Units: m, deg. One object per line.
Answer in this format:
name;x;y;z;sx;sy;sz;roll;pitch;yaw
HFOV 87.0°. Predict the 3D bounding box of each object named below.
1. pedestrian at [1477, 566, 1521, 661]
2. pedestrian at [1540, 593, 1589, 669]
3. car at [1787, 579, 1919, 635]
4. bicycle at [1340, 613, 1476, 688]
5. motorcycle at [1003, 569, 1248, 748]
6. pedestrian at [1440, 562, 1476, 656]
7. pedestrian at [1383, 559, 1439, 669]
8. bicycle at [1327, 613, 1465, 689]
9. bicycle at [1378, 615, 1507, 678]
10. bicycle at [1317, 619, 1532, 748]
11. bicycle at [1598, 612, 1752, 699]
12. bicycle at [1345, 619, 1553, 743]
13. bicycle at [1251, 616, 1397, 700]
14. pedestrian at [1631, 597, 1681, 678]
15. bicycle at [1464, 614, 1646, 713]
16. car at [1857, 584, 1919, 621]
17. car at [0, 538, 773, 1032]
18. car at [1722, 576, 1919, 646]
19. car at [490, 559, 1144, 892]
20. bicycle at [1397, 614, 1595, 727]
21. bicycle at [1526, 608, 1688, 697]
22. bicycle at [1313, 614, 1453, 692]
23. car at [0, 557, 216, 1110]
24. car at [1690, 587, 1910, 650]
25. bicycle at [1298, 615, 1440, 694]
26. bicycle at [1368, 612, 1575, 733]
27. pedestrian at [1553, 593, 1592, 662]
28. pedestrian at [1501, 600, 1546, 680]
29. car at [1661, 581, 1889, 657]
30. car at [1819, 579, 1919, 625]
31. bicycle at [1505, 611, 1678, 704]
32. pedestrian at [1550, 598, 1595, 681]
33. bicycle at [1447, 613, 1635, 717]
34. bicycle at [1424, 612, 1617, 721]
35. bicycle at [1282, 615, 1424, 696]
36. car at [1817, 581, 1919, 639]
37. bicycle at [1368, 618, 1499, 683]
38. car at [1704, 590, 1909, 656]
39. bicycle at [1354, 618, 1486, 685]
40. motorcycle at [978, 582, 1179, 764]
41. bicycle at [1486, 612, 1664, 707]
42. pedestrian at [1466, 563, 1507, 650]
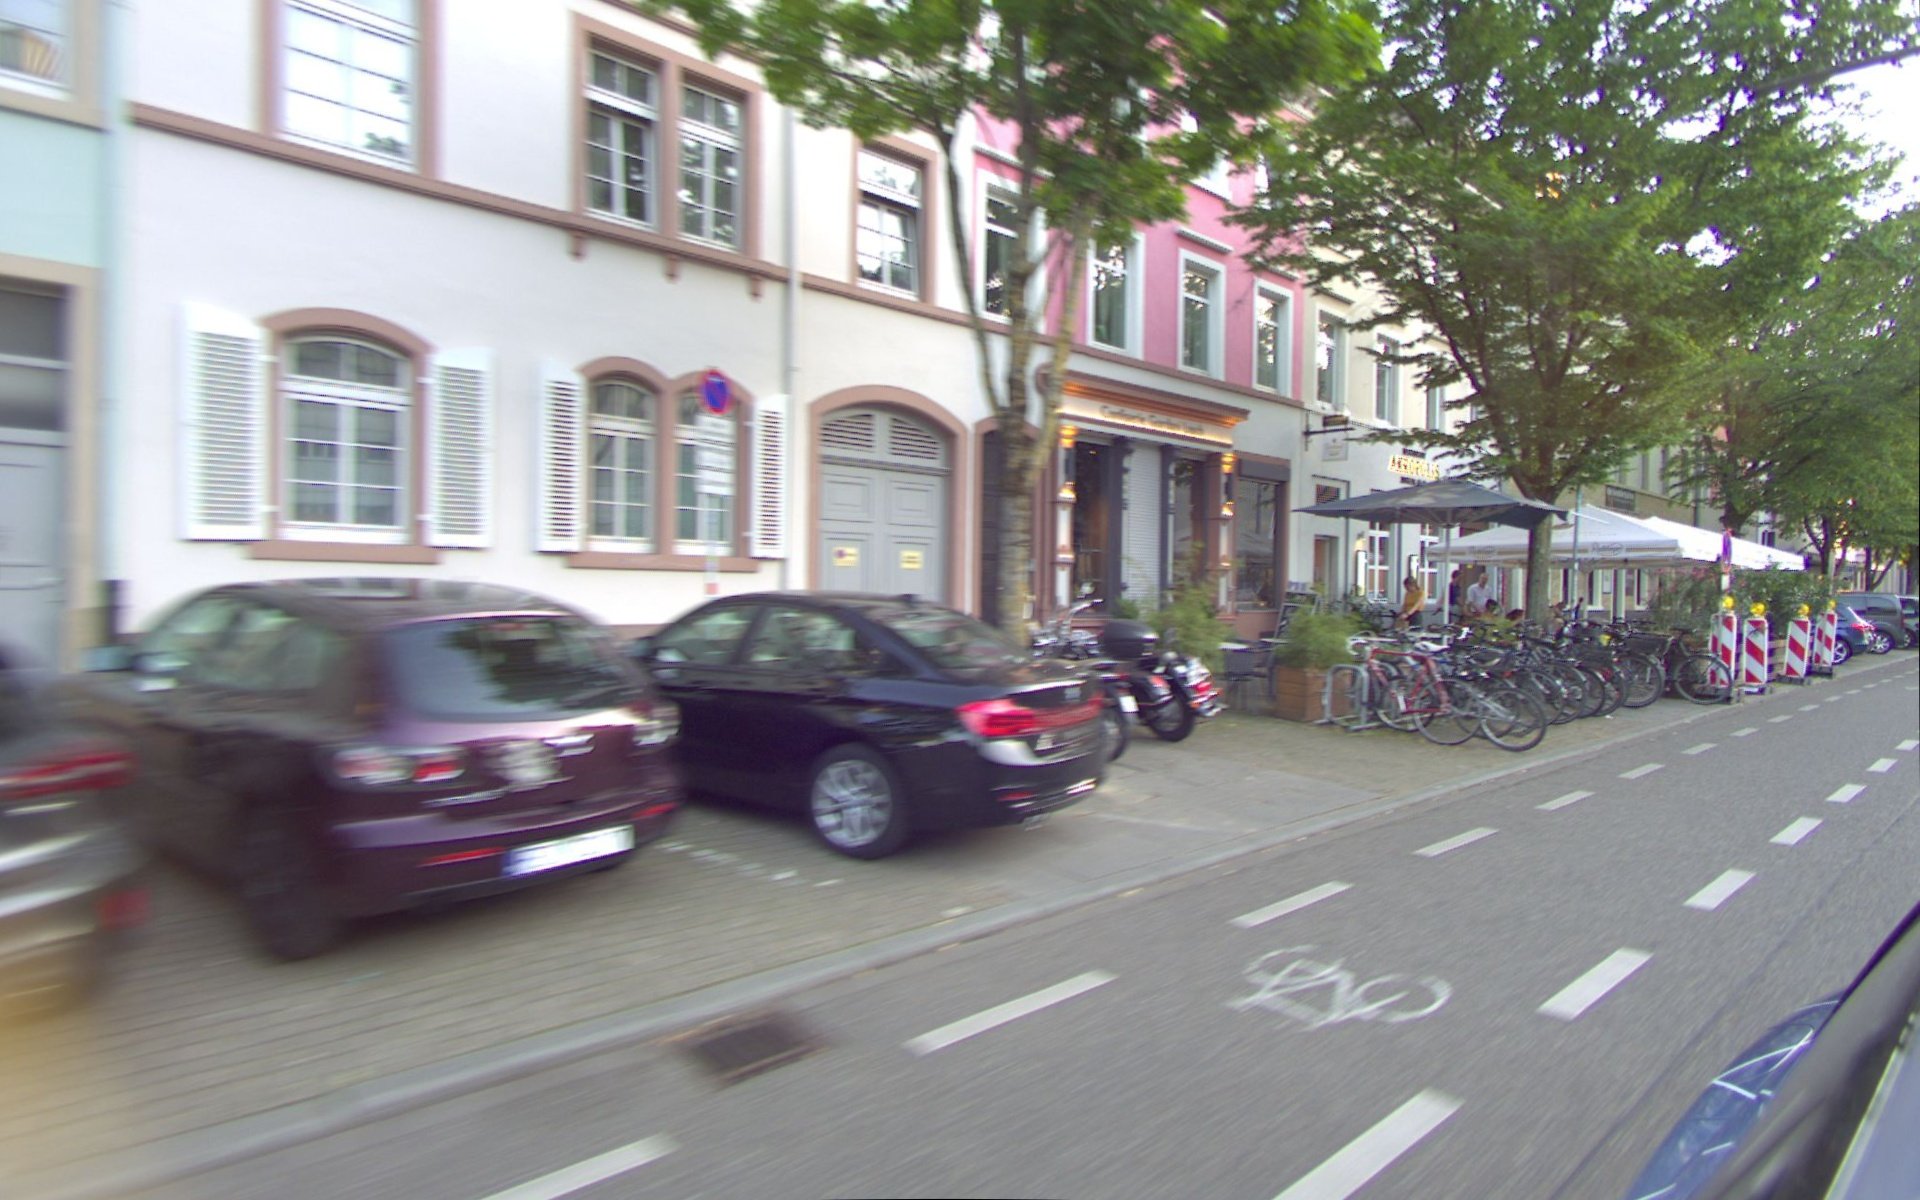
pedestrian;10.340;0.252;19.414;0.703;1.785;0.551;0;0;-44
pedestrian;10.581;0.533;17.720;0.495;1.308;0.599;0;0;-38
car;32.226;0.252;35.516;1.973;1.708;4.659;1;3;-41
bicycle;6.511;0.706;14.797;0.320;0.883;1.819;0;4;-42
motorcycle;1.561;0.483;9.929;0.951;1.479;2.226;0;3;-42
pedestrian;9.735;0.163;19.784;0.548;1.785;0.843;0;0;32
pedestrian;7.589;0.227;17.030;0.878;1.785;0.551;0;0;-41
bicycle;6.214;0.704;14.526;0.320;0.883;1.819;0;4;-42
bicycle;7.518;0.706;15.837;0.381;0.883;1.818;0;1;-41
bicycle;4.711;0.801;10.385;0.524;1.044;1.907;0;4;-42
bicycle;10.274;0.759;14.588;0.547;1.044;1.682;0;4;-42
bicycle;5.153;0.811;10.769;0.581;1.044;1.866;0;4;-42
bicycle;4.707;0.723;13.215;0.320;0.883;1.819;0;4;-42
pedestrian;11.487;0.603;16.712;0.588;1.309;0.504;0;-1;-35
bicycle;7.659;0.778;13.105;0.598;1.044;1.890;0;4;-42
car;47.680;0.179;50.286;4.109;1.684;1.834;4;3;16
car;-3.110;0.526;5.226;3.936;1.488;1.977;5;3;34
car;25.571;0.273;30.134;4.112;1.828;1.994;3;2;22
car;-1.066;0.562;6.820;4.143;1.444;1.804;5;3;31
bicycle;6.160;0.769;11.726;0.598;1.044;1.890;0;4;-42
bicycle;9.234;0.716;14.502;0.598;1.044;1.819;0;4;-42
bicycle;5.926;0.717;14.282;0.320;0.883;1.819;0;4;-42
car;-4.653;0.559;3.313;4.086;1.488;1.809;4;3;24
car;23.317;0.470;28.289;4.270;1.406;1.796;3;2;20
bicycle;5.626;0.721;14.020;0.320;0.883;1.819;0;4;-42
bicycle;5.631;0.748;11.245;0.663;1.080;1.890;0;4;-42
pedestrian;12.037;0.530;19.906;0.546;1.322;0.710;0;0;22
pedestrian;9.400;0.650;16.879;0.590;1.308;0.502;0;0;-44
car;19.693;0.410;24.669;3.932;1.572;1.692;3;2;25
car;40.470;0.099;43.579;4.942;1.849;2.183;3;2;32
bicycle;8.695;0.753;14.011;0.598;1.044;1.890;0;4;-42
pedestrian;9.844;0.617;16.256;0.502;1.308;0.590;0;0;45
bicycle;7.199;0.767;12.630;0.598;1.044;1.890;0;4;-42
bicycle;6.661;0.748;12.117;0.598;1.044;1.890;0;4;-42
bicycle;5.304;0.721;13.761;0.320;0.883;1.819;0;4;-42
car;31.180;0.370;33.081;4.652;1.708;1.975;5;3;45
bicycle;7.117;0.738;15.294;0.320;0.883;1.818;0;1;-42
car;21.861;0.539;26.352;3.751;1.425;1.689;3;2;29
bicycle;6.810;0.743;15.062;0.320;0.883;1.818;0;1;-42
motorcycle;0.976;0.562;8.769;0.524;1.360;1.789;0;3;-42
bicycle;8.204;0.756;13.577;0.598;1.044;1.890;0;4;-42
pedestrian;11.134;0.130;21.431;0.696;1.785;0.710;0;0;22
